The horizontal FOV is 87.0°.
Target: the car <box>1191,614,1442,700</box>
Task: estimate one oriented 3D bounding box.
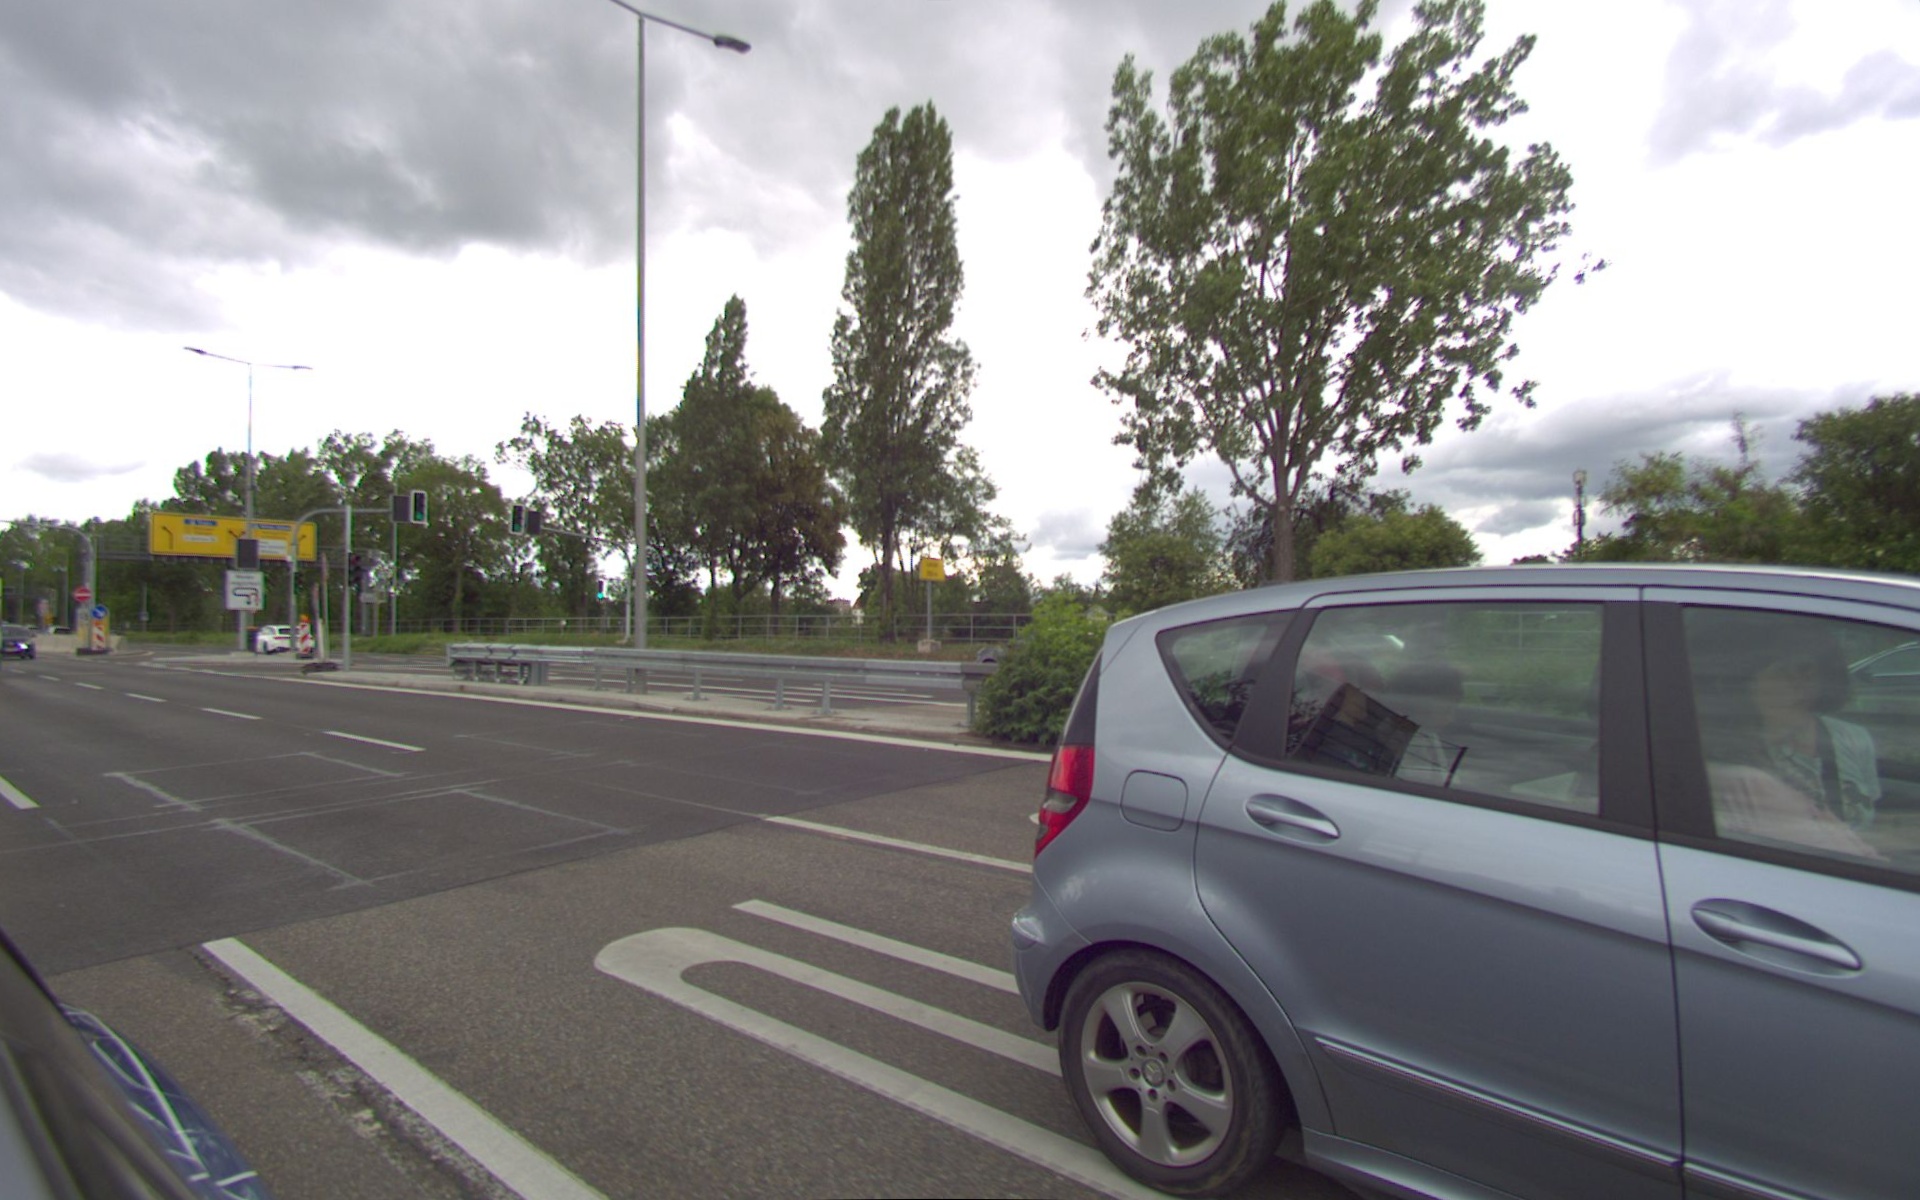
[{"bbox_3d":[6.578,1.010,18.924,4.064,1.429,1.758,-2,-2,41],"label":"car"}]

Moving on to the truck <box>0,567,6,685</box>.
[{"bbox_3d":[-31.264,0.838,30.231,12.499,3.163,2.623,-2,-2,40],"label":"truck"}]

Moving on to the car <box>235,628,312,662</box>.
[{"bbox_3d":[-32.584,2.149,47.990,4.998,1.537,1.680,-2,-4,40],"label":"car"}]

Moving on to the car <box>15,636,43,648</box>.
[{"bbox_3d":[-118.986,5.343,129.302,4.998,1.537,1.987,-2,-2,40],"label":"car"}]

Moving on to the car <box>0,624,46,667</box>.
[{"bbox_3d":[-41.009,1.945,43.600,4.143,1.738,1.859,-2,-2,40],"label":"car"}]

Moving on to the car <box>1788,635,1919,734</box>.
[{"bbox_3d":[15.052,1.242,15.137,4.064,1.429,1.758,-2,-2,41],"label":"car"}]

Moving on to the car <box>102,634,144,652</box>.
[{"bbox_3d":[-73.301,3.725,88.634,4.998,1.537,1.987,-2,-2,40],"label":"car"}]

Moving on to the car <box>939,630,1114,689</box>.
[{"bbox_3d":[1.702,1.521,26.924,4.363,1.429,1.907,-2,-2,39],"label":"car"}]

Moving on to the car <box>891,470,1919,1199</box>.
[{"bbox_3d":[1.978,0.597,2.247,4.143,1.551,1.859,-2,-2,40],"label":"car"}]

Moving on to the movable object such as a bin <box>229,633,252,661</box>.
[{"bbox_3d":[-26.689,1.748,37.542,0.622,1.032,0.563,-2,-2,44],"label":"movable object such as a bin"}]
